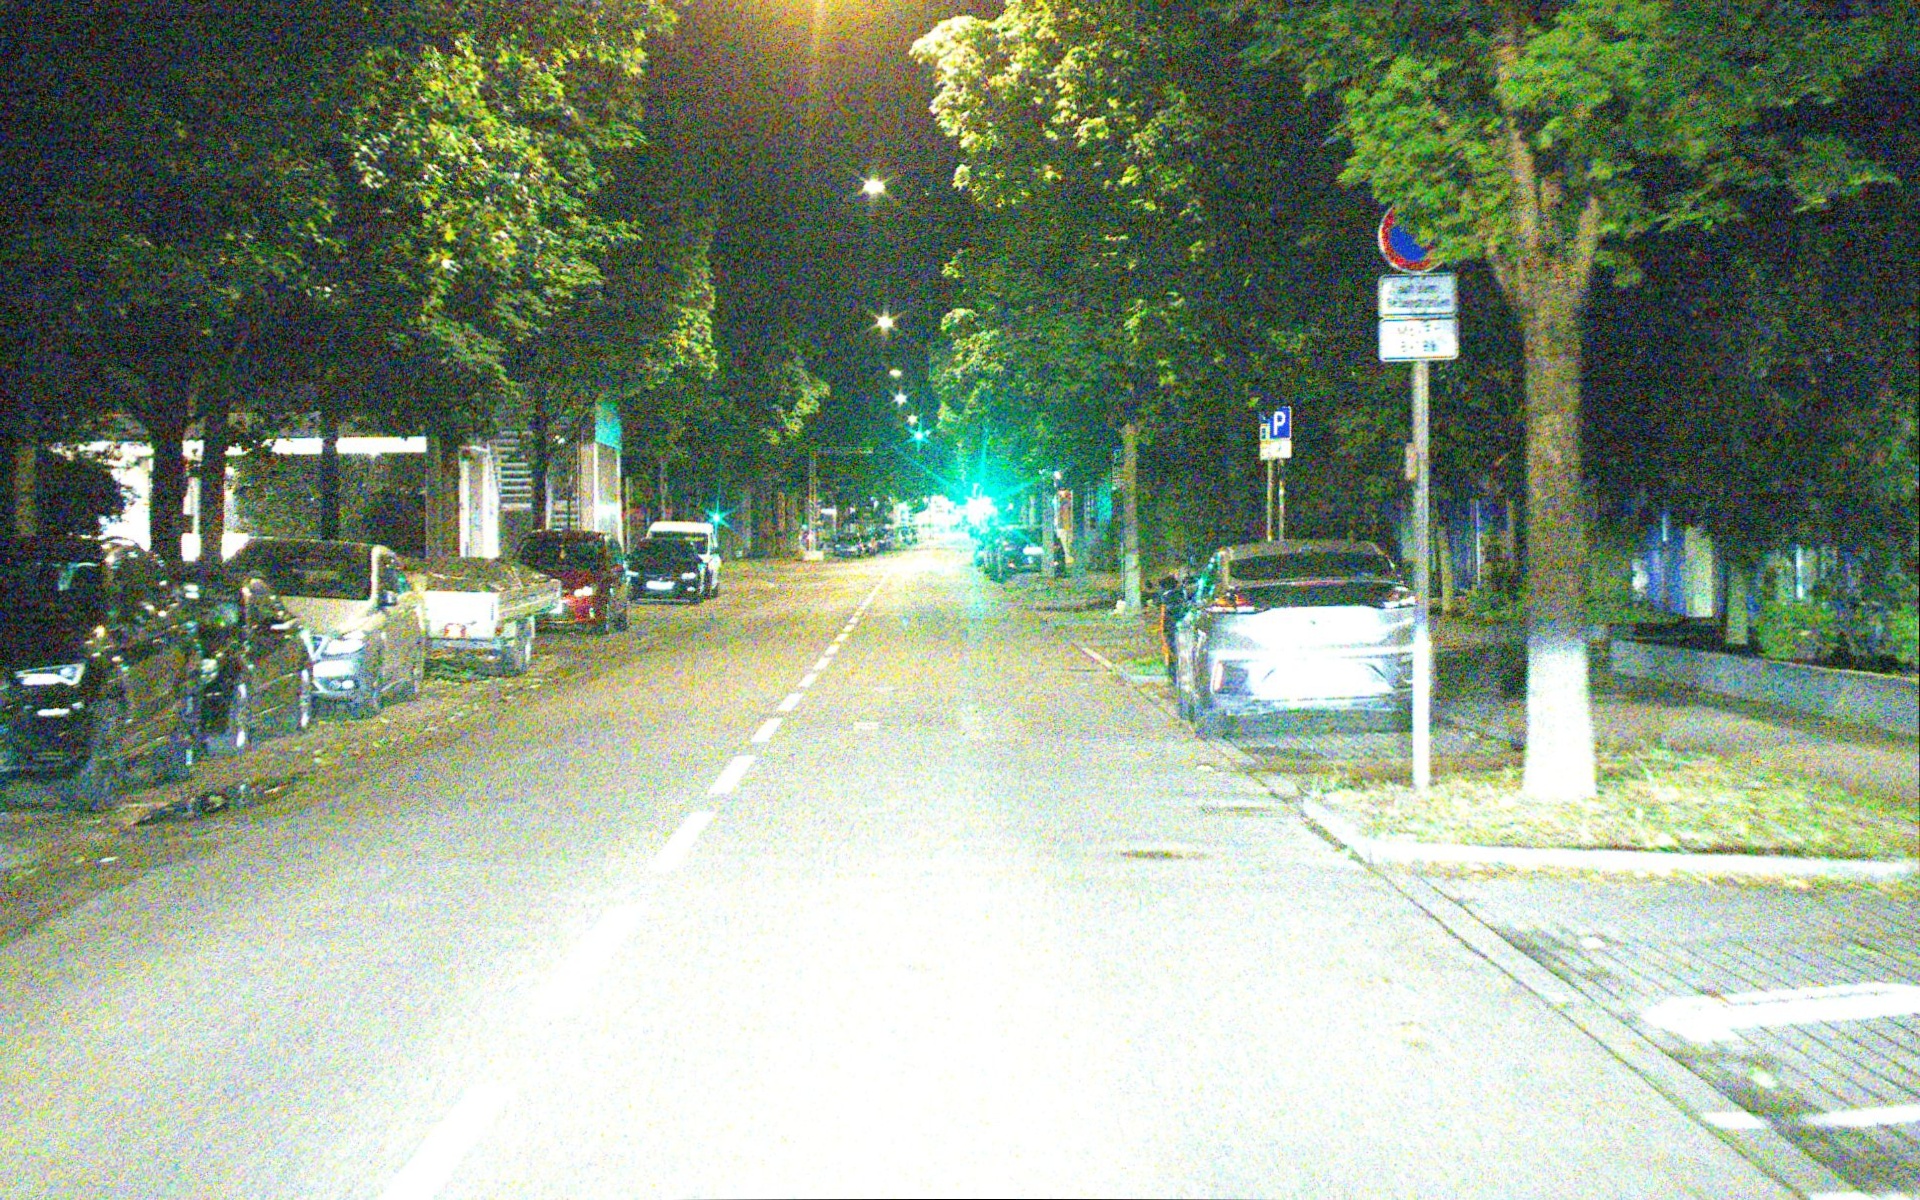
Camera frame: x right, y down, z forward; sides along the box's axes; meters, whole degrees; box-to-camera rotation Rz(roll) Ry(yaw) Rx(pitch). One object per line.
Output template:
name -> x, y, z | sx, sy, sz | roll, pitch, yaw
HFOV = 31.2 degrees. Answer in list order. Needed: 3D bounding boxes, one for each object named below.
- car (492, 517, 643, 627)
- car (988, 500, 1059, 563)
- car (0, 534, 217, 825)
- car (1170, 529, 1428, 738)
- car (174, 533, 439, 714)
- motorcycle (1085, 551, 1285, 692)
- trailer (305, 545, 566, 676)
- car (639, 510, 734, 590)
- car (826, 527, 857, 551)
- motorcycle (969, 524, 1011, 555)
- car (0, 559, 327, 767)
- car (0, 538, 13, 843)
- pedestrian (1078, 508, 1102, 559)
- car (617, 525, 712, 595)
car -> -6.208, -0.478, 54.710 | 1.822, 1.593, 4.073 | 3, 1, 1
car -> 1.769, -1.949, 97.249 | 1.853, 1.648, 4.209 | -2, 2, 0
car -> -5.898, 0.407, 21.465 | 1.742, 1.601, 4.299 | 1, 1, -3
car -> 2.571, 0.199, 26.863 | 1.668, 1.424, 4.148 | -2, 1, 2
car -> -6.008, 0.167, 32.032 | 1.716, 1.496, 4.206 | 2, 1, -1
motorcycle -> 2.142, 0.180, 33.075 | 0.926, 1.279, 2.235 | -2, 2, -25
trailer -> -5.996, 0.066, 39.996 | 2.110, 1.330, 5.435 | 2, 1, 1
car -> -6.568, -1.236, 82.931 | 1.822, 1.805, 4.210 | 3, 1, 1
car -> -7.056, -3.672, 205.331 | 1.740, 1.411, 3.752 | 0, 1, 0
motorcycle -> 1.217, -2.444, 138.618 | 0.637, 1.265, 2.060 | 1, 1, 35
car -> -6.094, 0.413, 26.384 | 1.704, 1.407, 4.634 | 0, 1, -1
car -> -5.895, 0.519, 16.300 | 1.742, 1.601, 4.116 | 0, 1, -1
pedestrian -> 4.445, -2.279, 117.640 | 0.705, 1.716, 0.821 | -2, 1, 0
car -> -6.528, -0.904, 76.322 | 1.700, 1.428, 3.828 | 3, 1, 0
